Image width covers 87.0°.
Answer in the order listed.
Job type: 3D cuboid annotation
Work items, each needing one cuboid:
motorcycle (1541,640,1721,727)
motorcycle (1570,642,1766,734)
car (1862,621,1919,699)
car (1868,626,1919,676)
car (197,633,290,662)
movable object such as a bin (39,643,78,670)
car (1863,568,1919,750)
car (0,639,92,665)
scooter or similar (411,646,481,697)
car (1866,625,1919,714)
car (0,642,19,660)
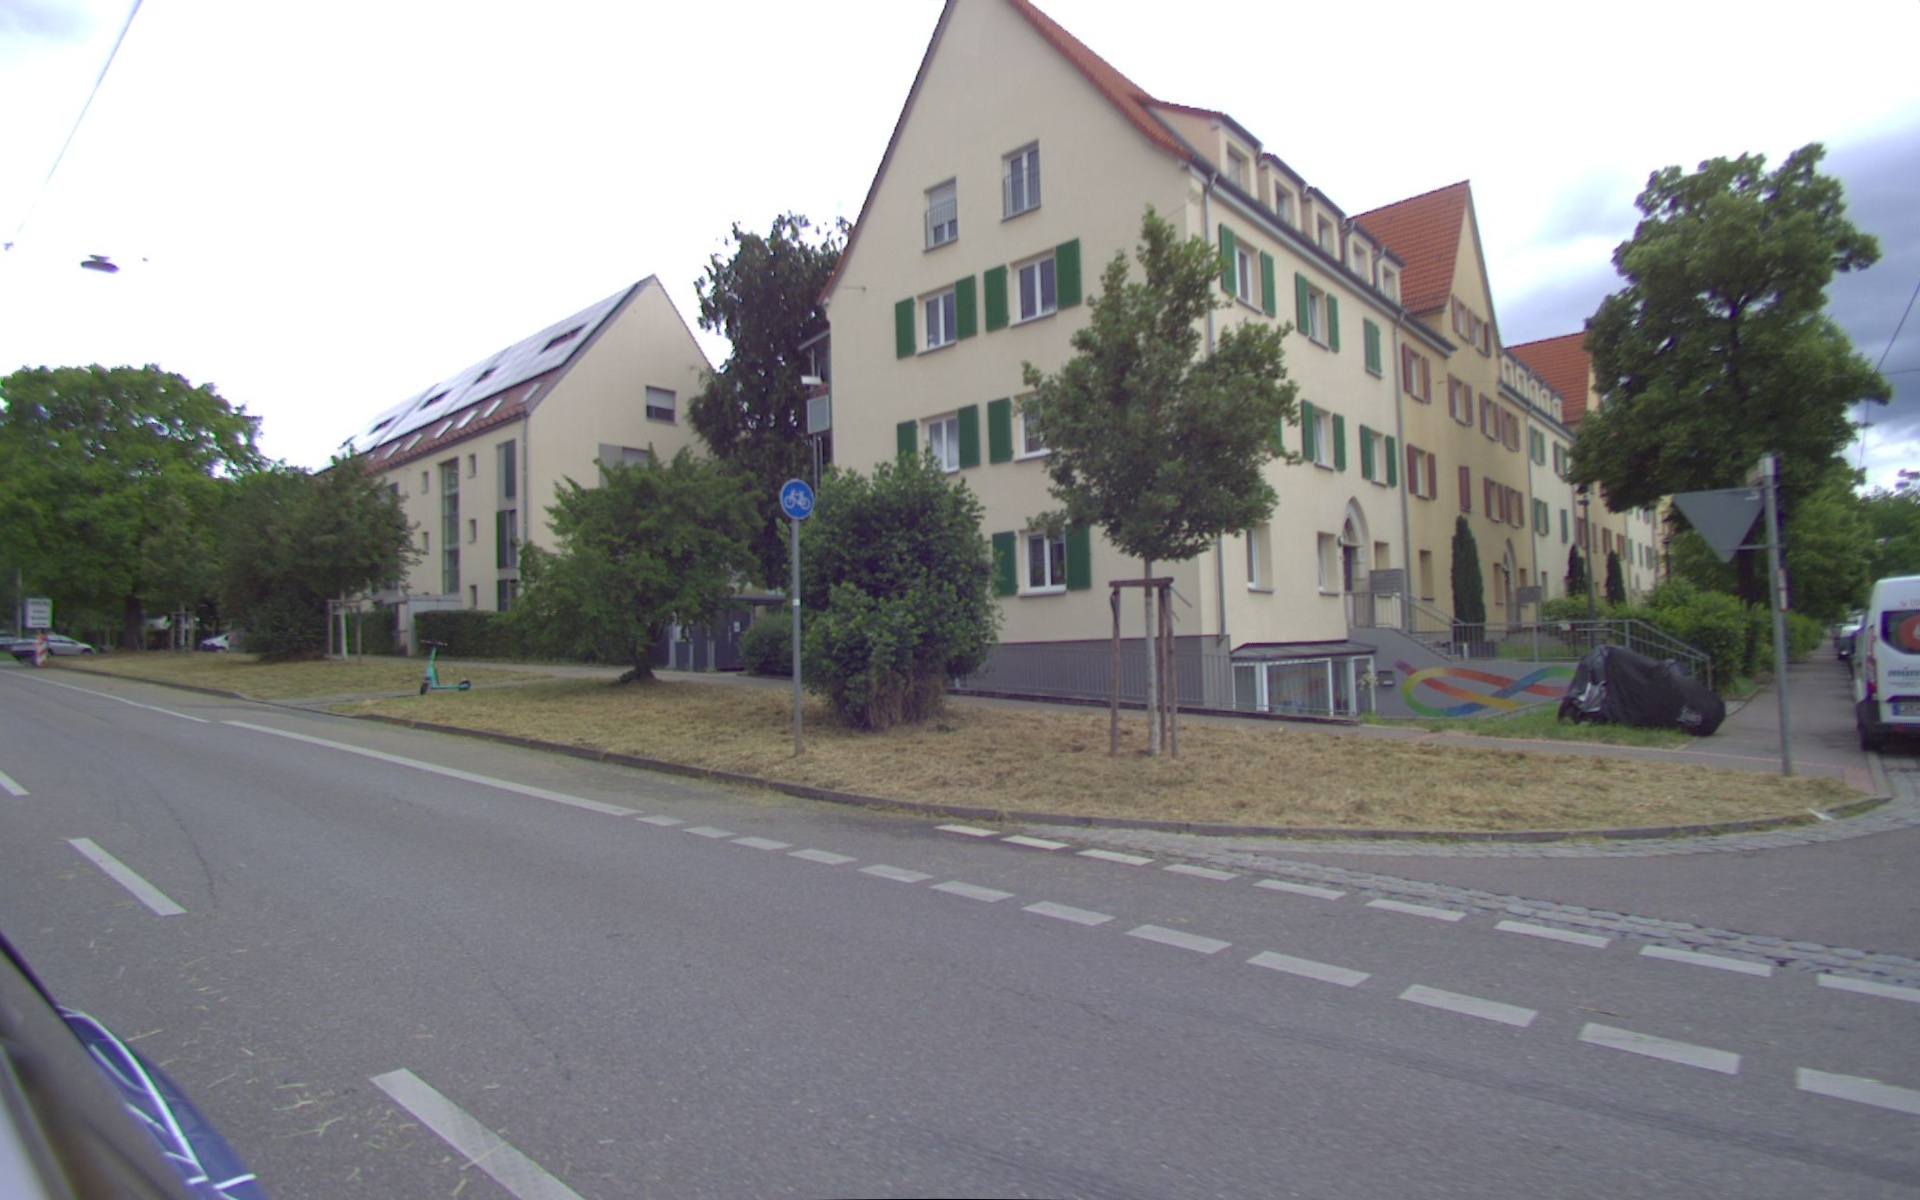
[{"bbox_3d":[11.042,1.343,16.672,2.562,1.288,1.020,-1,-1,-16],"label":"motorcycle"},{"bbox_3d":[10.694,1.291,15.303,2.562,1.288,1.020,0,-2,-16],"label":"motorcycle"},{"bbox_3d":[21.213,1.278,22.418,1.744,1.578,3.777,-2,-2,41],"label":"car"},{"bbox_3d":[28.864,1.538,30.913,1.585,1.397,3.425,-2,-2,41],"label":"car"},{"bbox_3d":[-50.679,3.338,71.627,1.999,1.932,5.086,-2,-2,41],"label":"car"},{"bbox_3d":[-67.016,4.187,75.253,3.234,1.918,1.089,-2,-2,27],"label":"movable object such as a bin"},{"bbox_3d":[13.934,0.760,14.058,1.994,2.270,4.668,-2,-2,41],"label":"car"},{"bbox_3d":[-53.545,3.054,59.356,1.782,1.475,4.028,0,-3,0],"label":"car"},{"bbox_3d":[-11.666,1.605,22.990,0.466,1.094,1.357,-2,-3,37],"label":"scooter or similar"},{"bbox_3d":[18.007,1.232,18.682,1.745,1.478,3.775,-2,-2,44],"label":"car"},{"bbox_3d":[-87.713,4.658,92.734,3.999,1.618,1.836,-2,-2,43],"label":"car"}]
